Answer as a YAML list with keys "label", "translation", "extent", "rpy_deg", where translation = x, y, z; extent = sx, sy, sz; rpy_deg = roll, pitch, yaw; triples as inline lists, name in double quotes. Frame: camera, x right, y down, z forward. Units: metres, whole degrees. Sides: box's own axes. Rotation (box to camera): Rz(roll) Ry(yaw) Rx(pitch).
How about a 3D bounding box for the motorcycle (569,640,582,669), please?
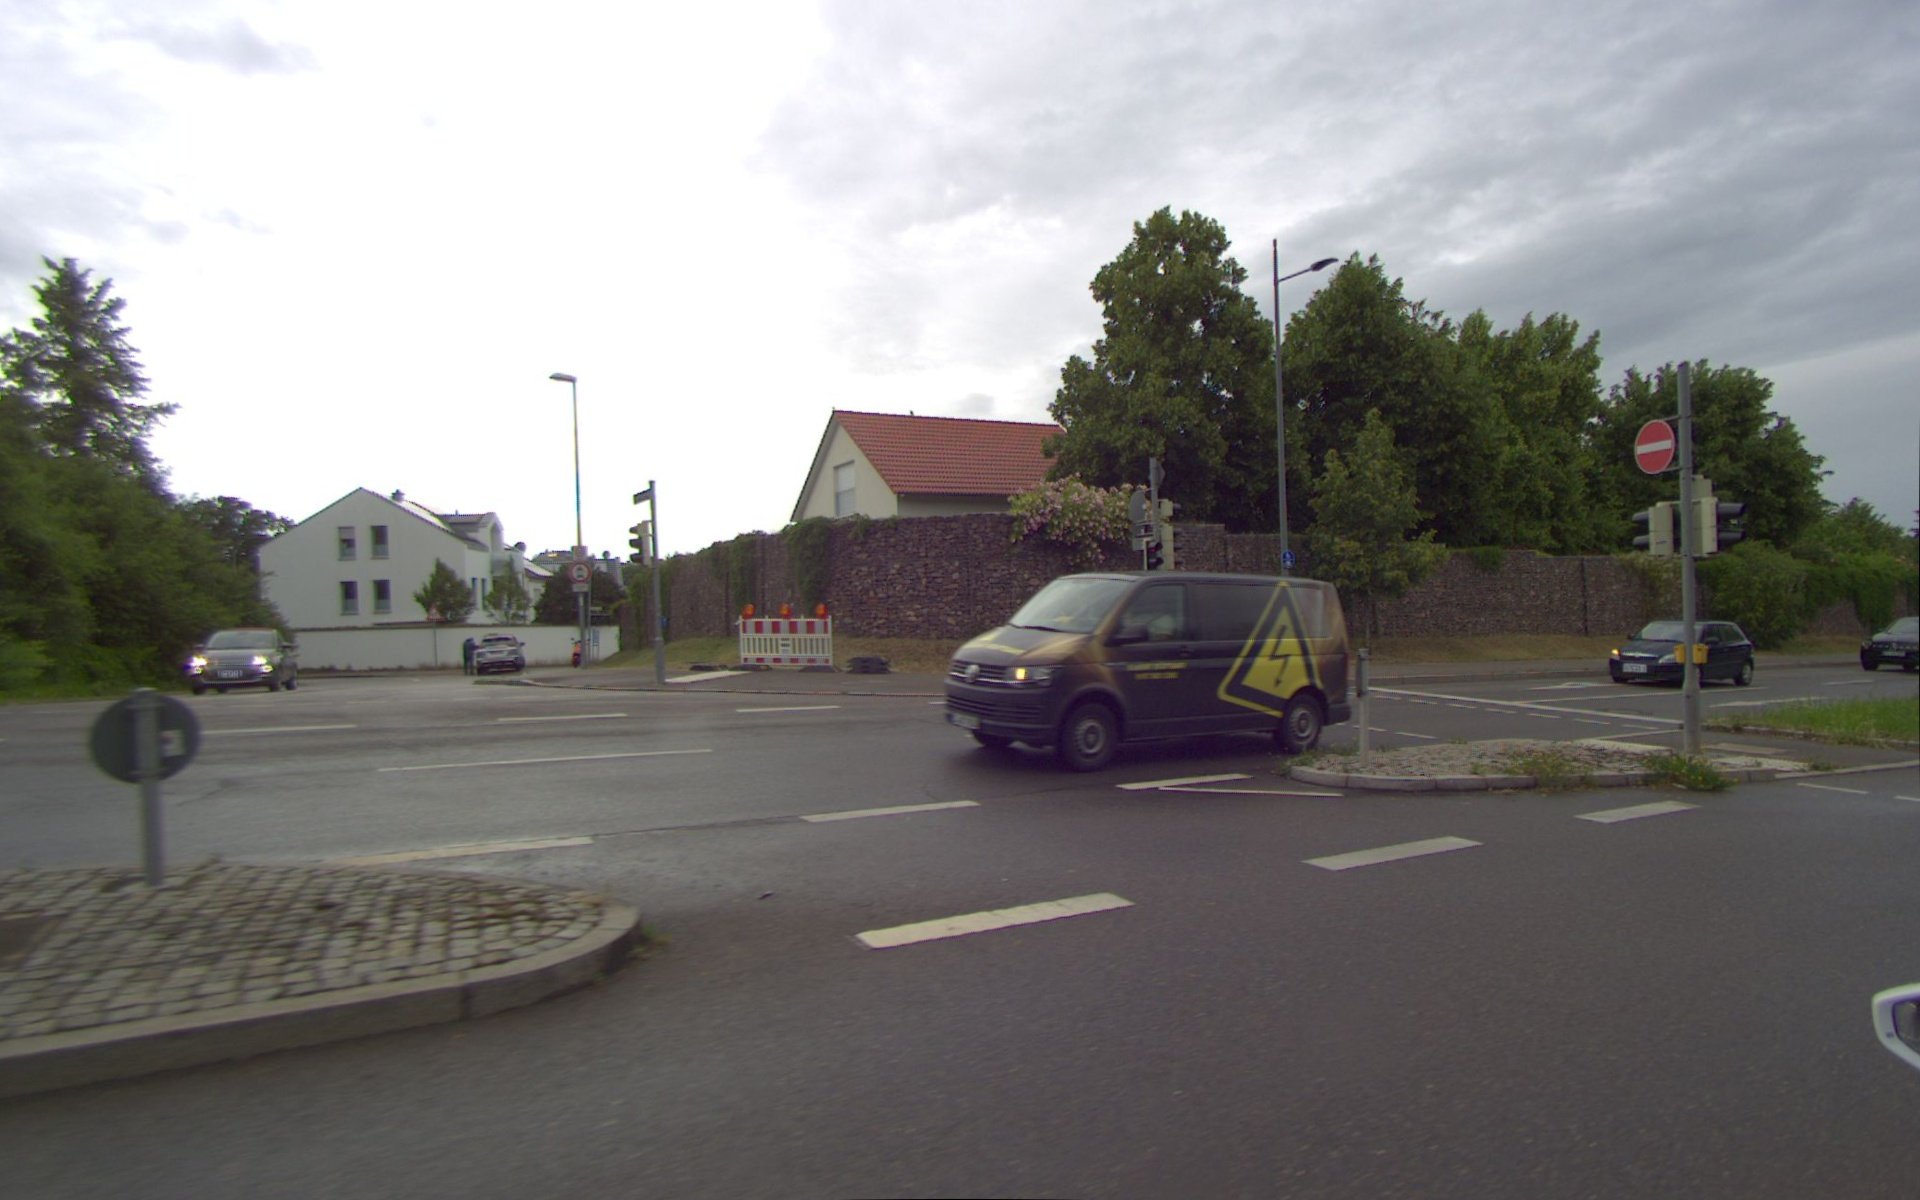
- label: "motorcycle"
  translation: [-16.444, 2.321, 42.976]
  extent: [0.340, 1.158, 1.301]
  rpy_deg: [2, -1, -27]

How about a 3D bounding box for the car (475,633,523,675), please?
- label: "car"
  translation: [-20.537, 2.365, 44.864]
  extent: [1.868, 1.725, 3.977]
  rpy_deg: [-1, -1, -24]

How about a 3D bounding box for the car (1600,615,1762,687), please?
- label: "car"
  translation: [16.487, 1.132, 22.927]
  extent: [3.954, 1.509, 1.590]
  rpy_deg: [1, 0, -31]

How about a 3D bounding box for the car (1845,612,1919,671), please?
- label: "car"
  translation: [29.002, 1.252, 30.323]
  extent: [4.707, 1.616, 1.873]
  rpy_deg: [2, 0, -28]

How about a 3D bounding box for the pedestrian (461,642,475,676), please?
- label: "pedestrian"
  translation: [-21.631, 2.579, 44.168]
  extent: [0.541, 1.458, 0.478]
  rpy_deg: [1, -1, -28]

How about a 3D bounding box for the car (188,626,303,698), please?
- label: "car"
  translation: [-16.723, 1.394, 23.687]
  extent: [1.671, 1.492, 3.971]
  rpy_deg: [-1, -1, -28]

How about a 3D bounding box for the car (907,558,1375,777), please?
- label: "car"
  translation: [2.104, 0.652, 11.082]
  extent: [5.038, 1.944, 2.003]
  rpy_deg: [1, -1, -32]
